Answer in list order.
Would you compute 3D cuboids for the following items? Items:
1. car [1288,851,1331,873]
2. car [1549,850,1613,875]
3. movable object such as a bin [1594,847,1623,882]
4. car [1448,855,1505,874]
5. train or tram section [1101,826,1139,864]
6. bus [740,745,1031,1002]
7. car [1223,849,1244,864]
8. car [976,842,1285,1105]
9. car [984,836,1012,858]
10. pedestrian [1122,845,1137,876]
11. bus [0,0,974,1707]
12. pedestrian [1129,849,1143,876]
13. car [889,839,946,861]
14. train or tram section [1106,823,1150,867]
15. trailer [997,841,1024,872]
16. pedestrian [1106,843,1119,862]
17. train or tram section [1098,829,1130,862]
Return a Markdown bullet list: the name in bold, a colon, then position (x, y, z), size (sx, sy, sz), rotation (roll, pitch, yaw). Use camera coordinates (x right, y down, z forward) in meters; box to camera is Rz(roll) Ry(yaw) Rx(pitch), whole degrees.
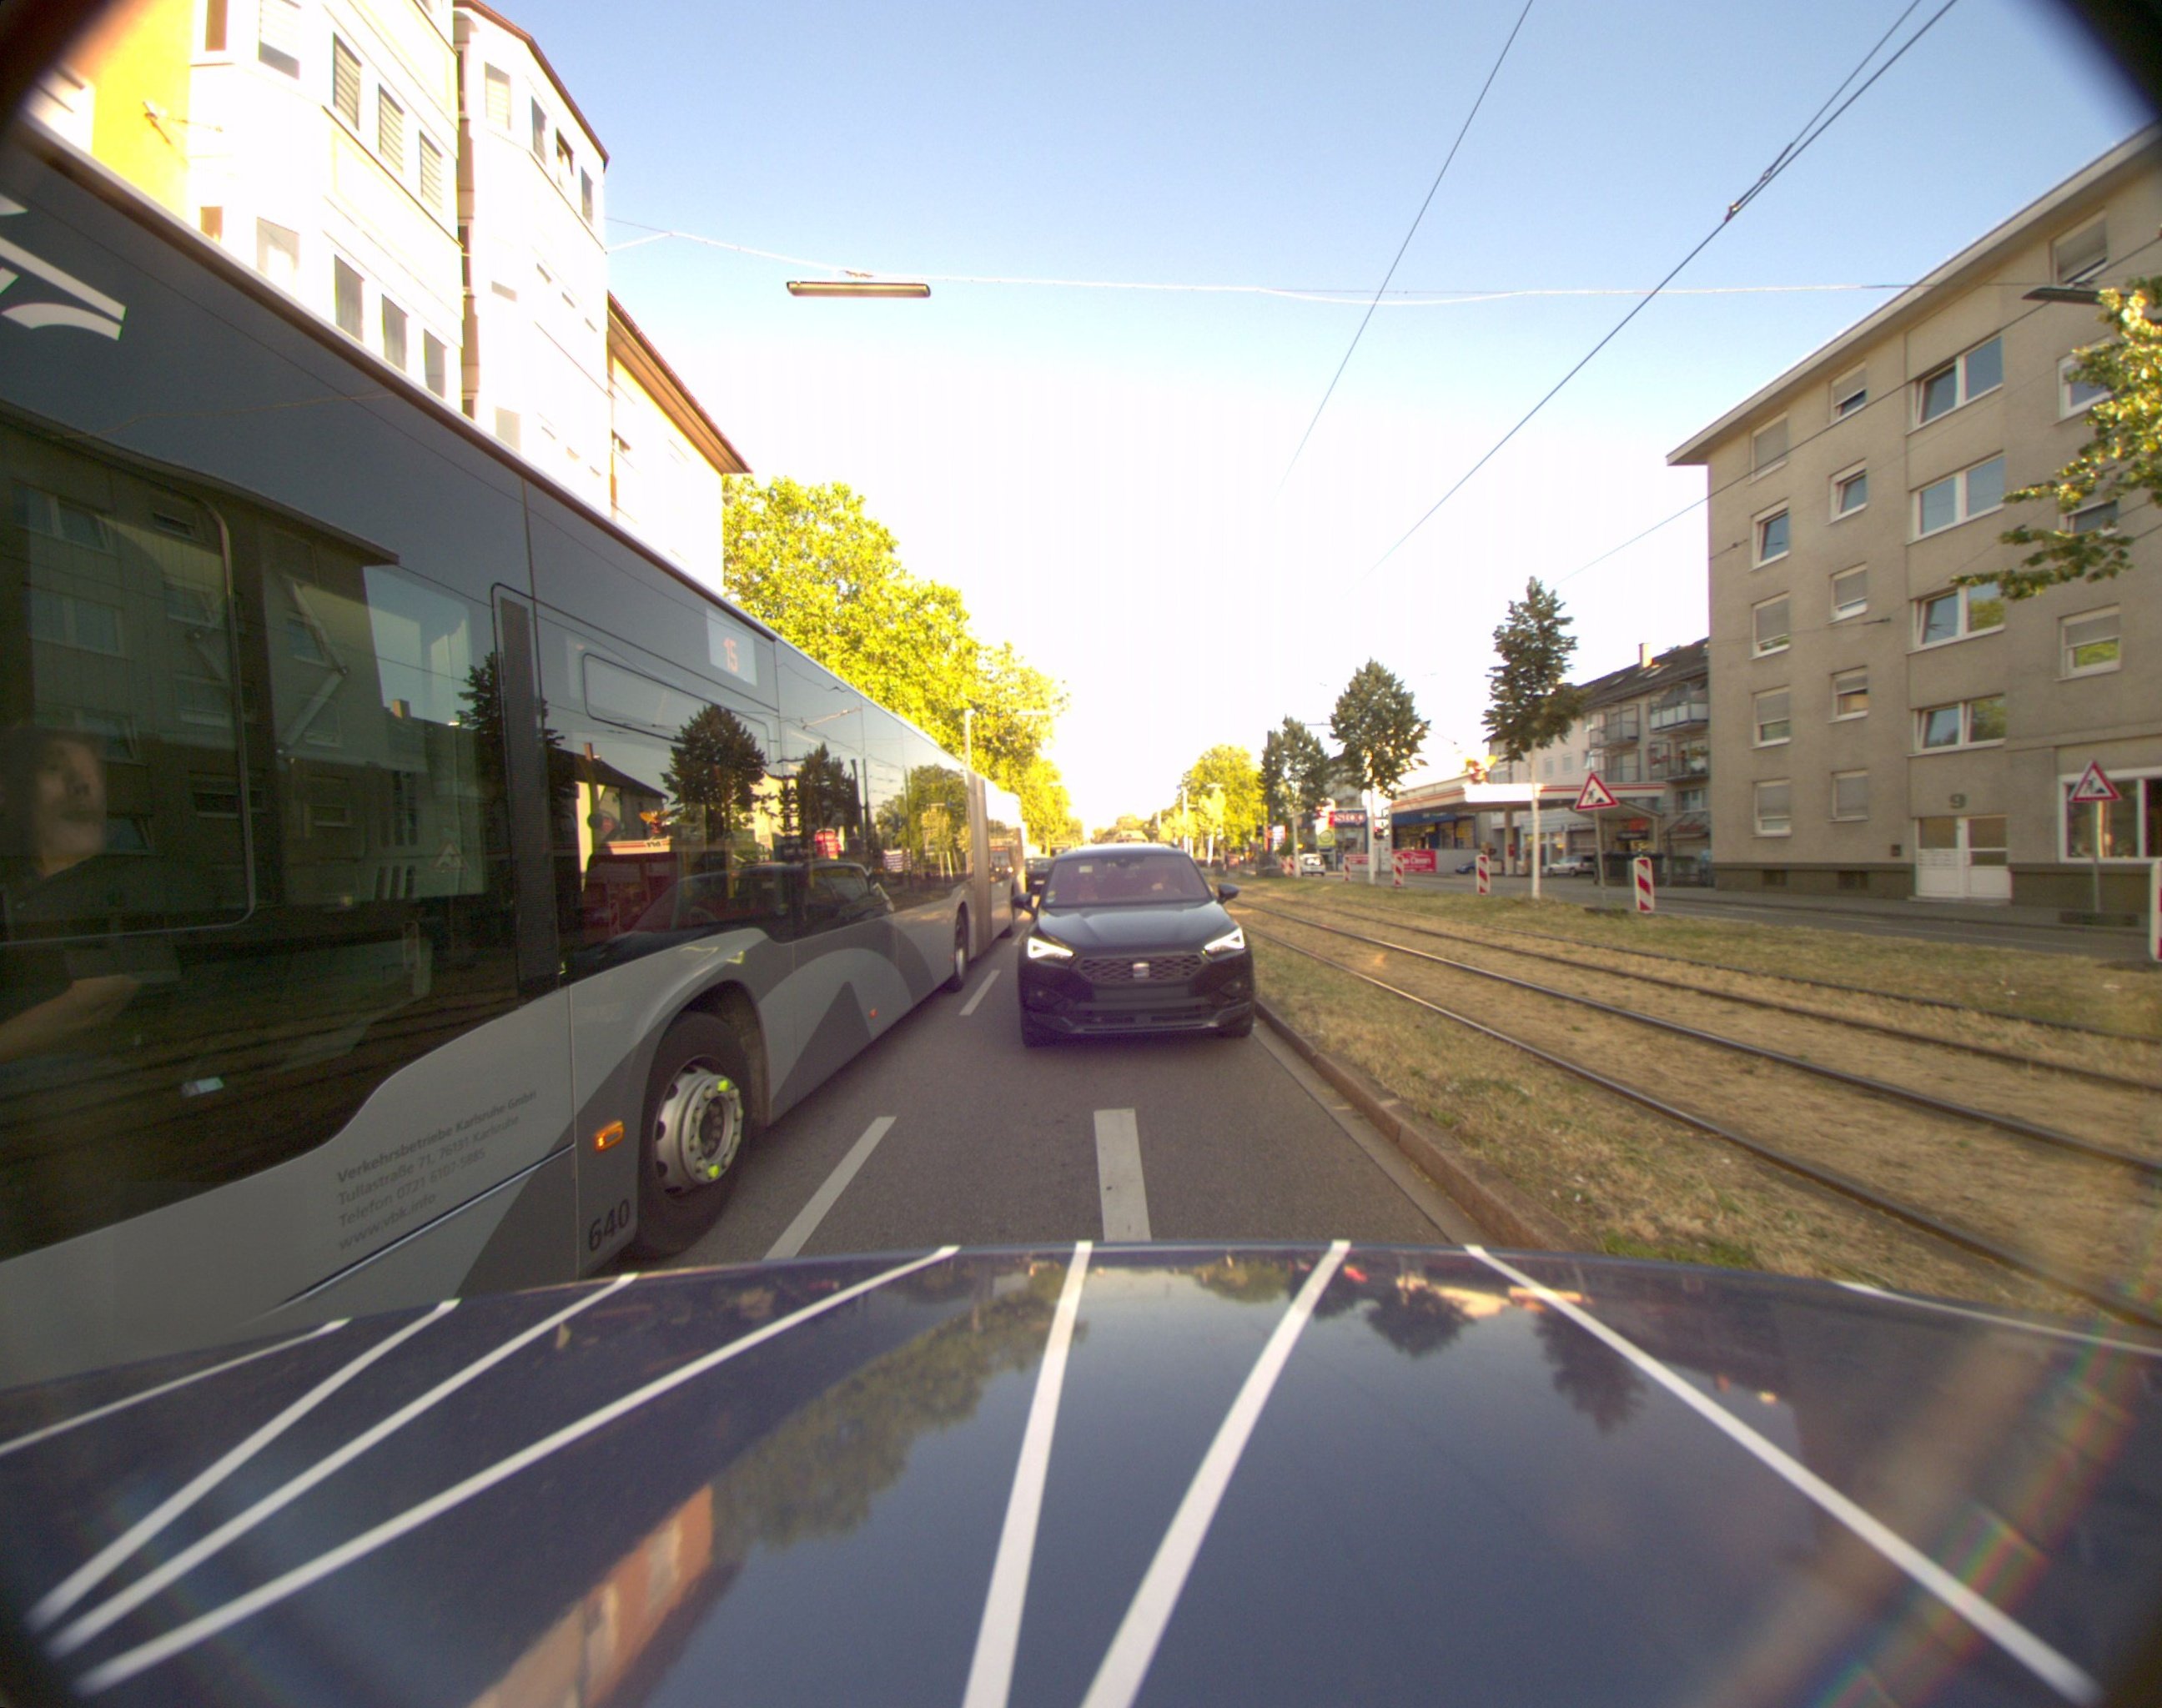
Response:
- **car**: position (16.013, 0.551, 53.471), size (1.816, 1.503, 3.828), rotation (0, 1, 0)
- **car**: position (33.860, 0.569, 51.565), size (1.816, 1.514, 3.829), rotation (-4, 0, 3)
- **movable object such as a bin**: position (21.311, 0.431, 30.697), size (0.665, 1.392, 0.749), rotation (0, 1, -1)
- **car**: position (32.569, 0.861, 62.671), size (3.803, 1.514, 1.818), rotation (-1, 0, 3)
- **train or tram section**: position (3.747, -0.857, 75.424), size (3.043, 3.497, 10.094), rotation (0, 1, -1)
- **bus**: position (-2.687, 0.230, 13.719), size (2.745, 3.038, 8.853), rotation (-2, 0, 1)
- **car**: position (17.039, 0.219, 85.170), size (1.816, 1.551, 4.935), rotation (-1, 1, 5)
- **car**: position (0.346, 0.770, 6.943), size (1.910, 1.606, 4.085), rotation (-3, 0, 1)
- **car**: position (-6.523, -0.509, 60.115), size (1.800, 1.621, 4.000), rotation (0, 0, 0)
- **pedestrian**: position (3.052, 0.419, 47.984), size (0.860, 1.921, 0.755), rotation (-1, 1, -2)
- **bus**: position (-2.786, 0.247, 4.702), size (2.745, 3.038, 9.131), rotation (-2, 0, 1)
- **pedestrian**: position (3.544, 0.564, 49.028), size (0.755, 1.737, 0.860), rotation (-1, 1, -3)
- **car**: position (-13.041, -0.327, 60.724), size (4.122, 1.541, 1.803), rotation (-3, 0, 2)
- **train or tram section**: position (3.882, -0.741, 65.324), size (3.043, 3.497, 10.094), rotation (0, 1, -1)
- **trailer**: position (-6.116, 0.225, 66.550), size (1.890, 2.573, 4.650), rotation (-1, 0, 1)
- **pedestrian**: position (2.531, -0.120, 61.526), size (0.918, 1.541, 0.788), rotation (-2, 1, -8)
- **train or tram section**: position (3.614, -0.981, 85.540), size (3.043, 3.497, 10.094), rotation (0, 1, -1)
